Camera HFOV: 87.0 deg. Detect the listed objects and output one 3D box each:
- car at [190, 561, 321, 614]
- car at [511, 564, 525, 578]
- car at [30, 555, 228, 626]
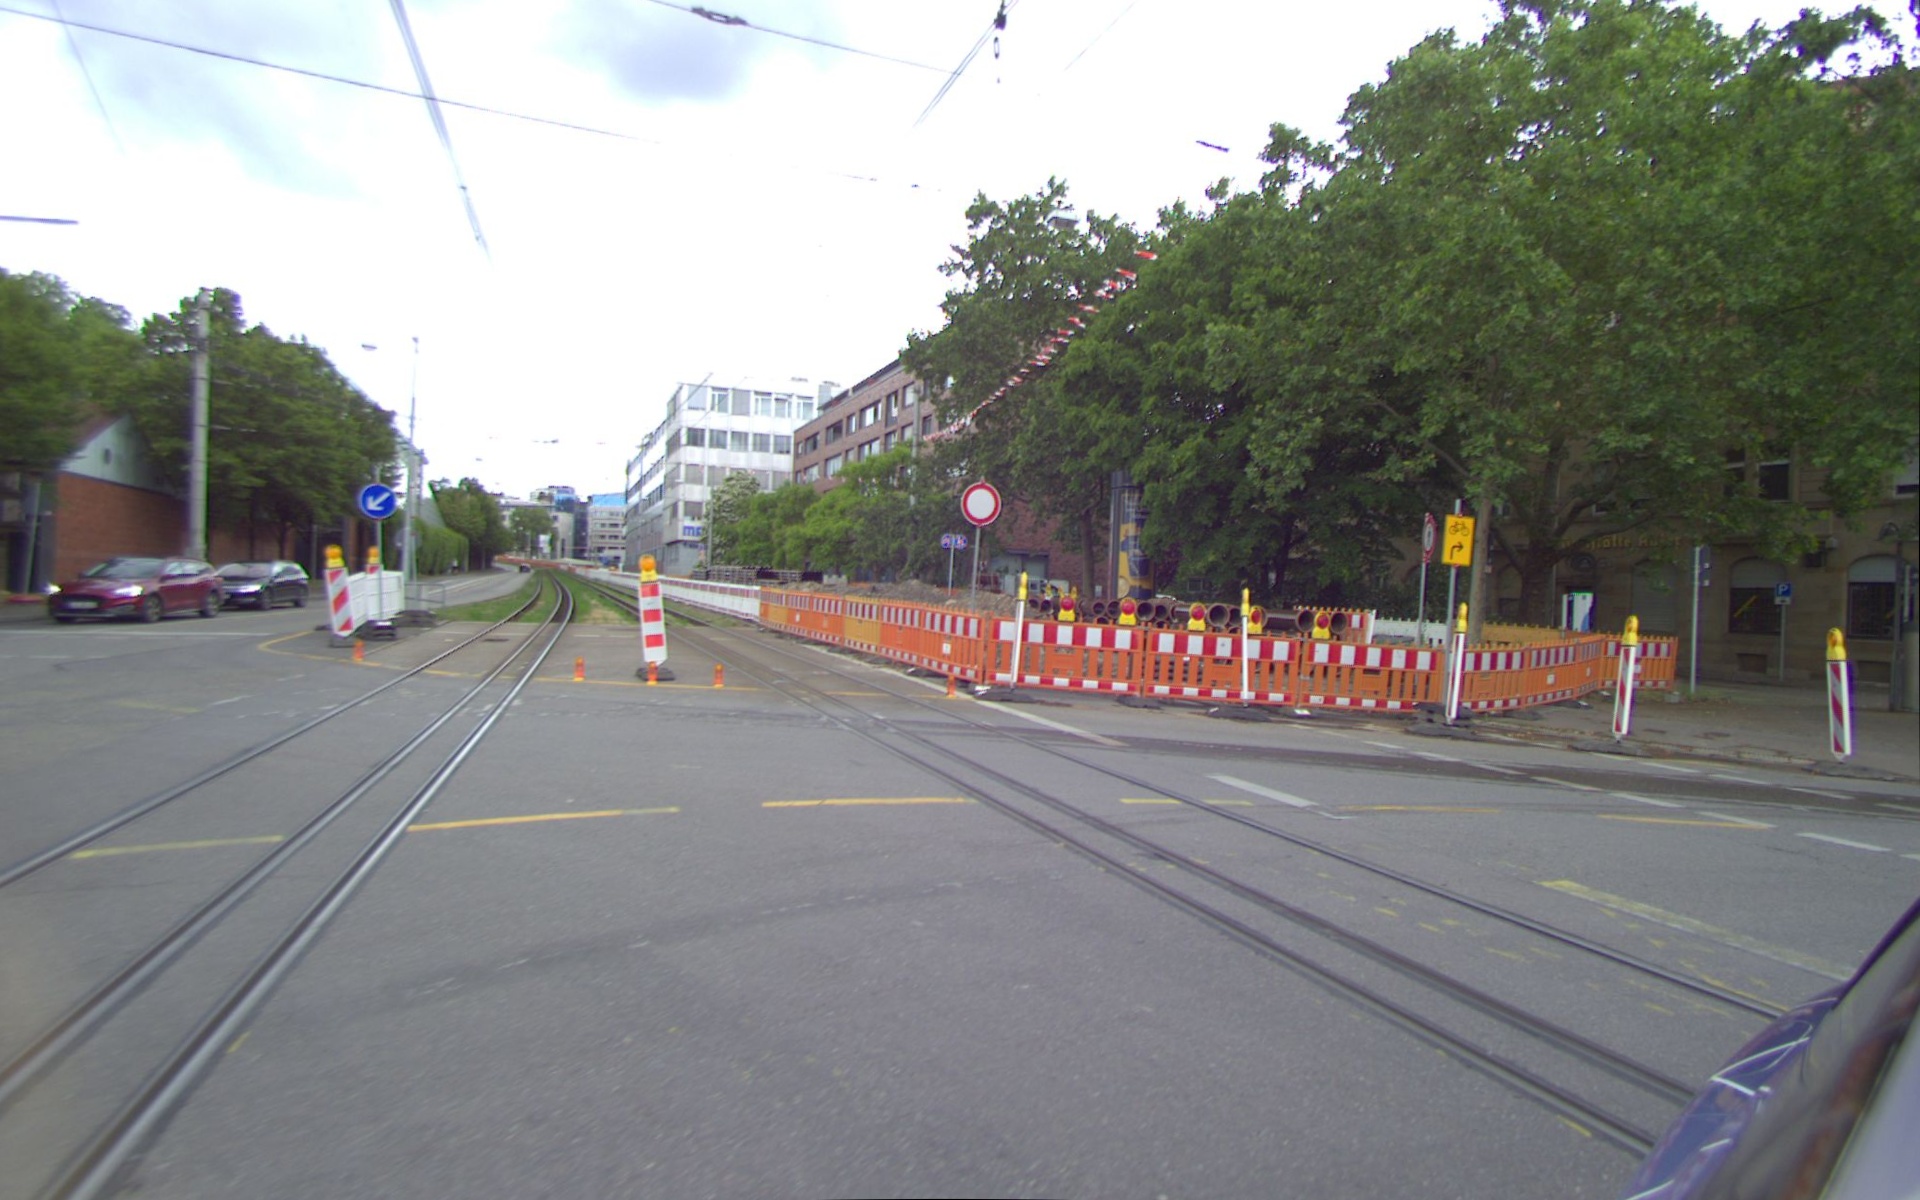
[{"bbox_3d":[-20.805,-0.367,30.093,1.765,1.461,4.468,1,0,-15],"label":"car"},{"bbox_3d":[-73.632,-4.845,168.512,1.958,2.040,4.006,1,-3,-21],"label":"car"},{"bbox_3d":[-18.969,-0.223,23.392,1.840,1.461,4.468,1,0,-15],"label":"car"}]
